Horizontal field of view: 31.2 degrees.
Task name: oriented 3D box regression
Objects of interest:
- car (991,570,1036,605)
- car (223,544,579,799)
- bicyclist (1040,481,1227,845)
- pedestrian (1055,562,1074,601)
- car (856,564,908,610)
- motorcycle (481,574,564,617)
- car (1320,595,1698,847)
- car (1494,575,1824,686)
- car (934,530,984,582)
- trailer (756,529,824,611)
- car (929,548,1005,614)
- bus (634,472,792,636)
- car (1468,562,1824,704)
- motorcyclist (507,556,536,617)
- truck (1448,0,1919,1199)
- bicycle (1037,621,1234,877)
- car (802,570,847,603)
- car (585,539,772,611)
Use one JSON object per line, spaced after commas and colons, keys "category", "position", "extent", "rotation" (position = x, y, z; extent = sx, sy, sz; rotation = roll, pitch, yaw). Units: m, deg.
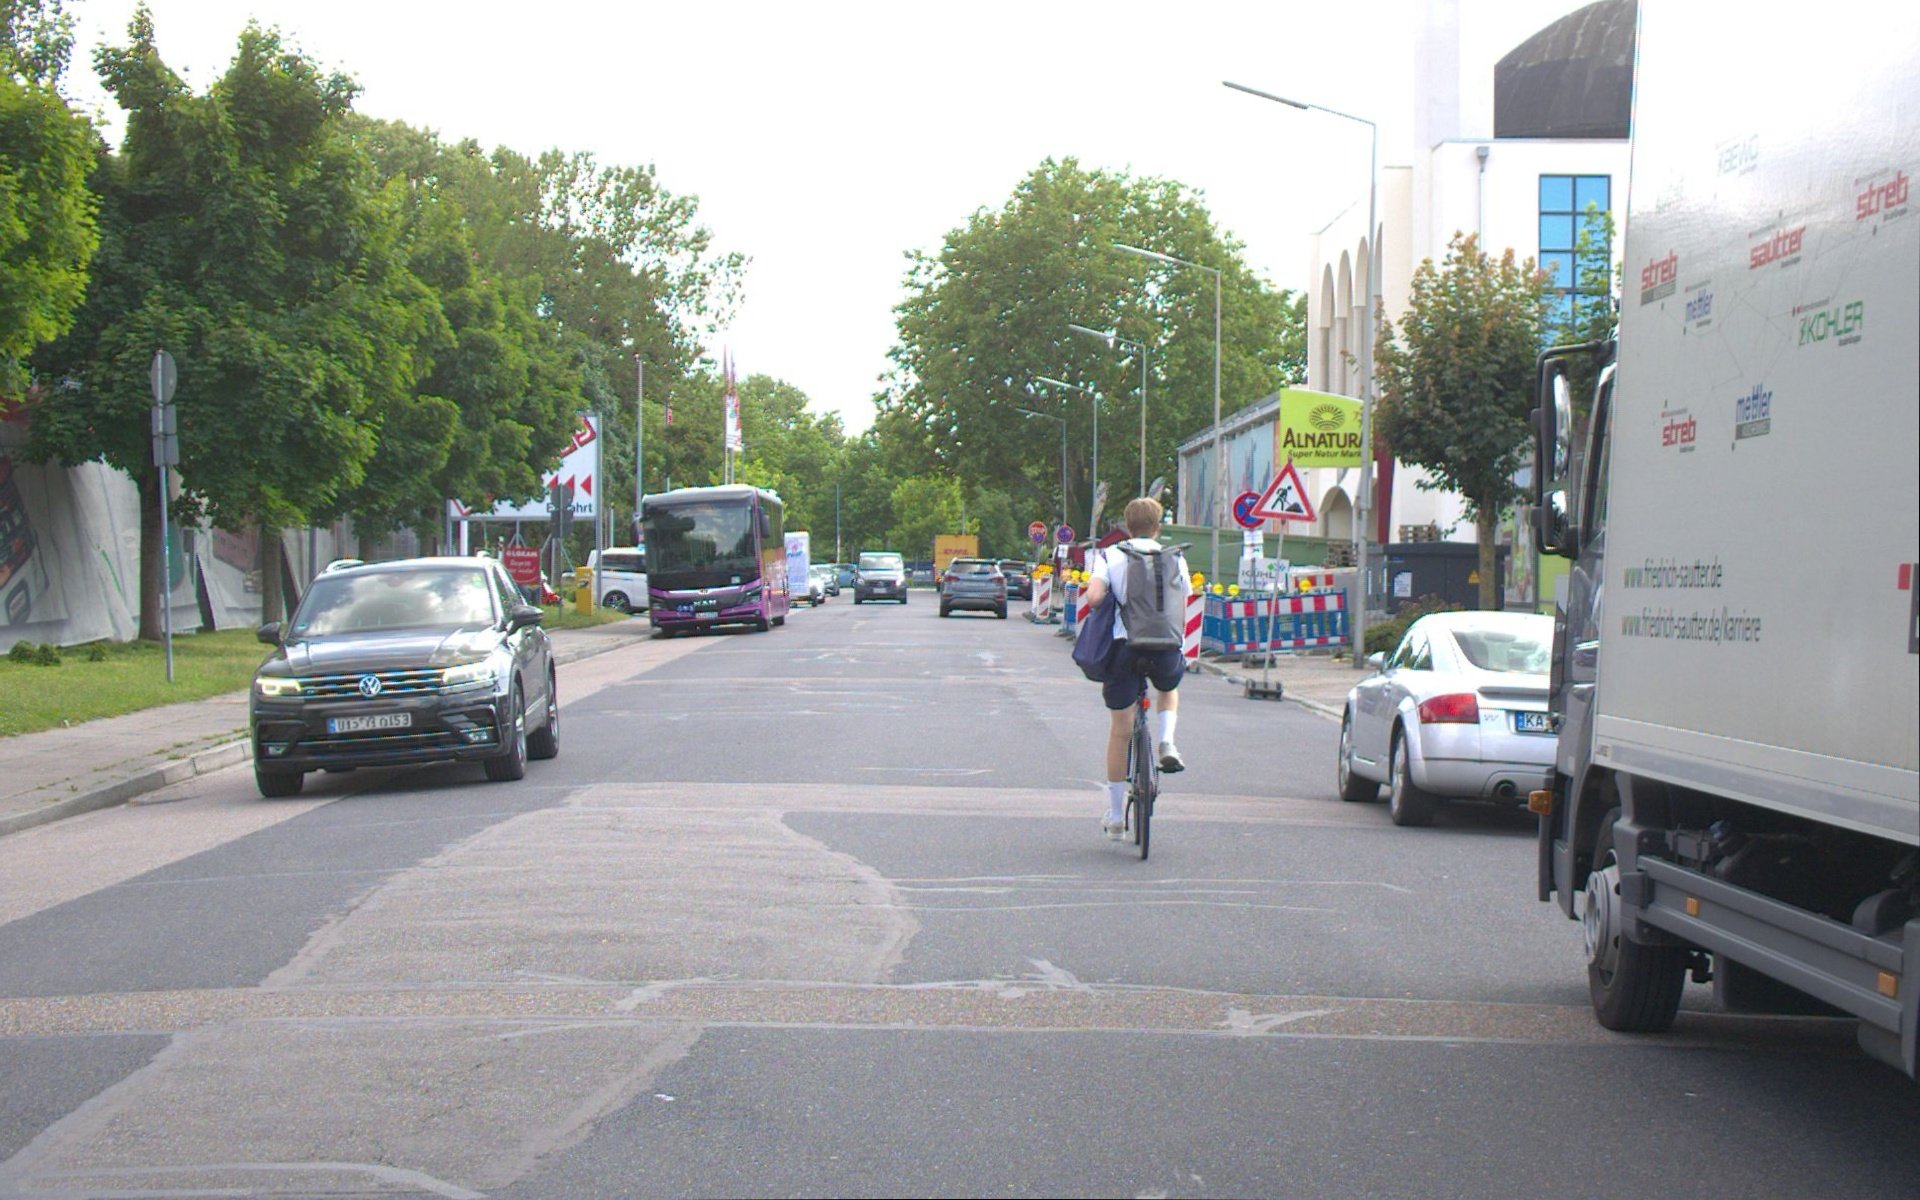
{"category": "car", "position": [2.297, -0.546, 146.746], "extent": [1.808, 1.386, 4.588], "rotation": [3, 1, 1]}
{"category": "car", "position": [-4.032, 0.461, 25.473], "extent": [1.874, 1.614, 4.294], "rotation": [-4, 1, 0]}
{"category": "bicyclist", "position": [0.881, 0.313, 17.791], "extent": [0.806, 1.786, 1.207], "rotation": [3, 0, -1]}
{"category": "pedestrian", "position": [4.058, -0.715, 133.381], "extent": [0.681, 1.528, 1.130], "rotation": [1, 0, 0]}
{"category": "car", "position": [-2.841, -0.496, 125.370], "extent": [1.868, 1.624, 4.127], "rotation": [0, 1, -1]}
{"category": "motorcycle", "position": [-12.434, -0.120, 97.807], "extent": [2.221, 1.209, 0.994], "rotation": [0, 0, 1]}
{"category": "car", "position": [3.452, 0.713, 22.295], "extent": [1.661, 1.336, 3.985], "rotation": [4, 1, -1]}
{"category": "car", "position": [9.679, 0.406, 47.800], "extent": [4.102, 1.458, 1.990], "rotation": [-1, 1, -3]}
{"category": "car", "position": [-0.073, -2.217, 174.179], "extent": [2.198, 2.569, 6.405], "rotation": [0, 1, -3]}
{"category": "trailer", "position": [-5.978, -1.047, 121.072], "extent": [2.139, 2.774, 4.703], "rotation": [-2, 1, -1]}
{"category": "car", "position": [0.180, -0.542, 97.210], "extent": [1.962, 1.809, 4.276], "rotation": [1, 1, -2]}
{"category": "bus", "position": [-5.671, -1.052, 81.078], "extent": [2.663, 3.411, 13.219], "rotation": [-3, 0, 0]}
{"category": "car", "position": [7.427, 0.347, 37.483], "extent": [3.600, 1.465, 1.688], "rotation": [-1, 1, 4]}
{"category": "motorcyclist", "position": [-12.474, -0.377, 97.814], "extent": [0.674, 1.717, 0.994], "rotation": [0, 0, 1]}
{"category": "truck", "position": [3.353, -0.506, 8.770], "extent": [2.778, 4.102, 8.279], "rotation": [3, 1, 0]}
{"category": "bicycle", "position": [0.874, 0.723, 17.833], "extent": [0.798, 1.176, 2.627], "rotation": [2, 0, -1]}
{"category": "car", "position": [-6.156, -0.641, 156.567], "extent": [1.709, 1.415, 4.331], "rotation": [-2, 0, 1]}
{"category": "car", "position": [-7.961, -0.713, 97.427], "extent": [5.001, 1.942, 1.992], "rotation": [1, 1, 6]}
